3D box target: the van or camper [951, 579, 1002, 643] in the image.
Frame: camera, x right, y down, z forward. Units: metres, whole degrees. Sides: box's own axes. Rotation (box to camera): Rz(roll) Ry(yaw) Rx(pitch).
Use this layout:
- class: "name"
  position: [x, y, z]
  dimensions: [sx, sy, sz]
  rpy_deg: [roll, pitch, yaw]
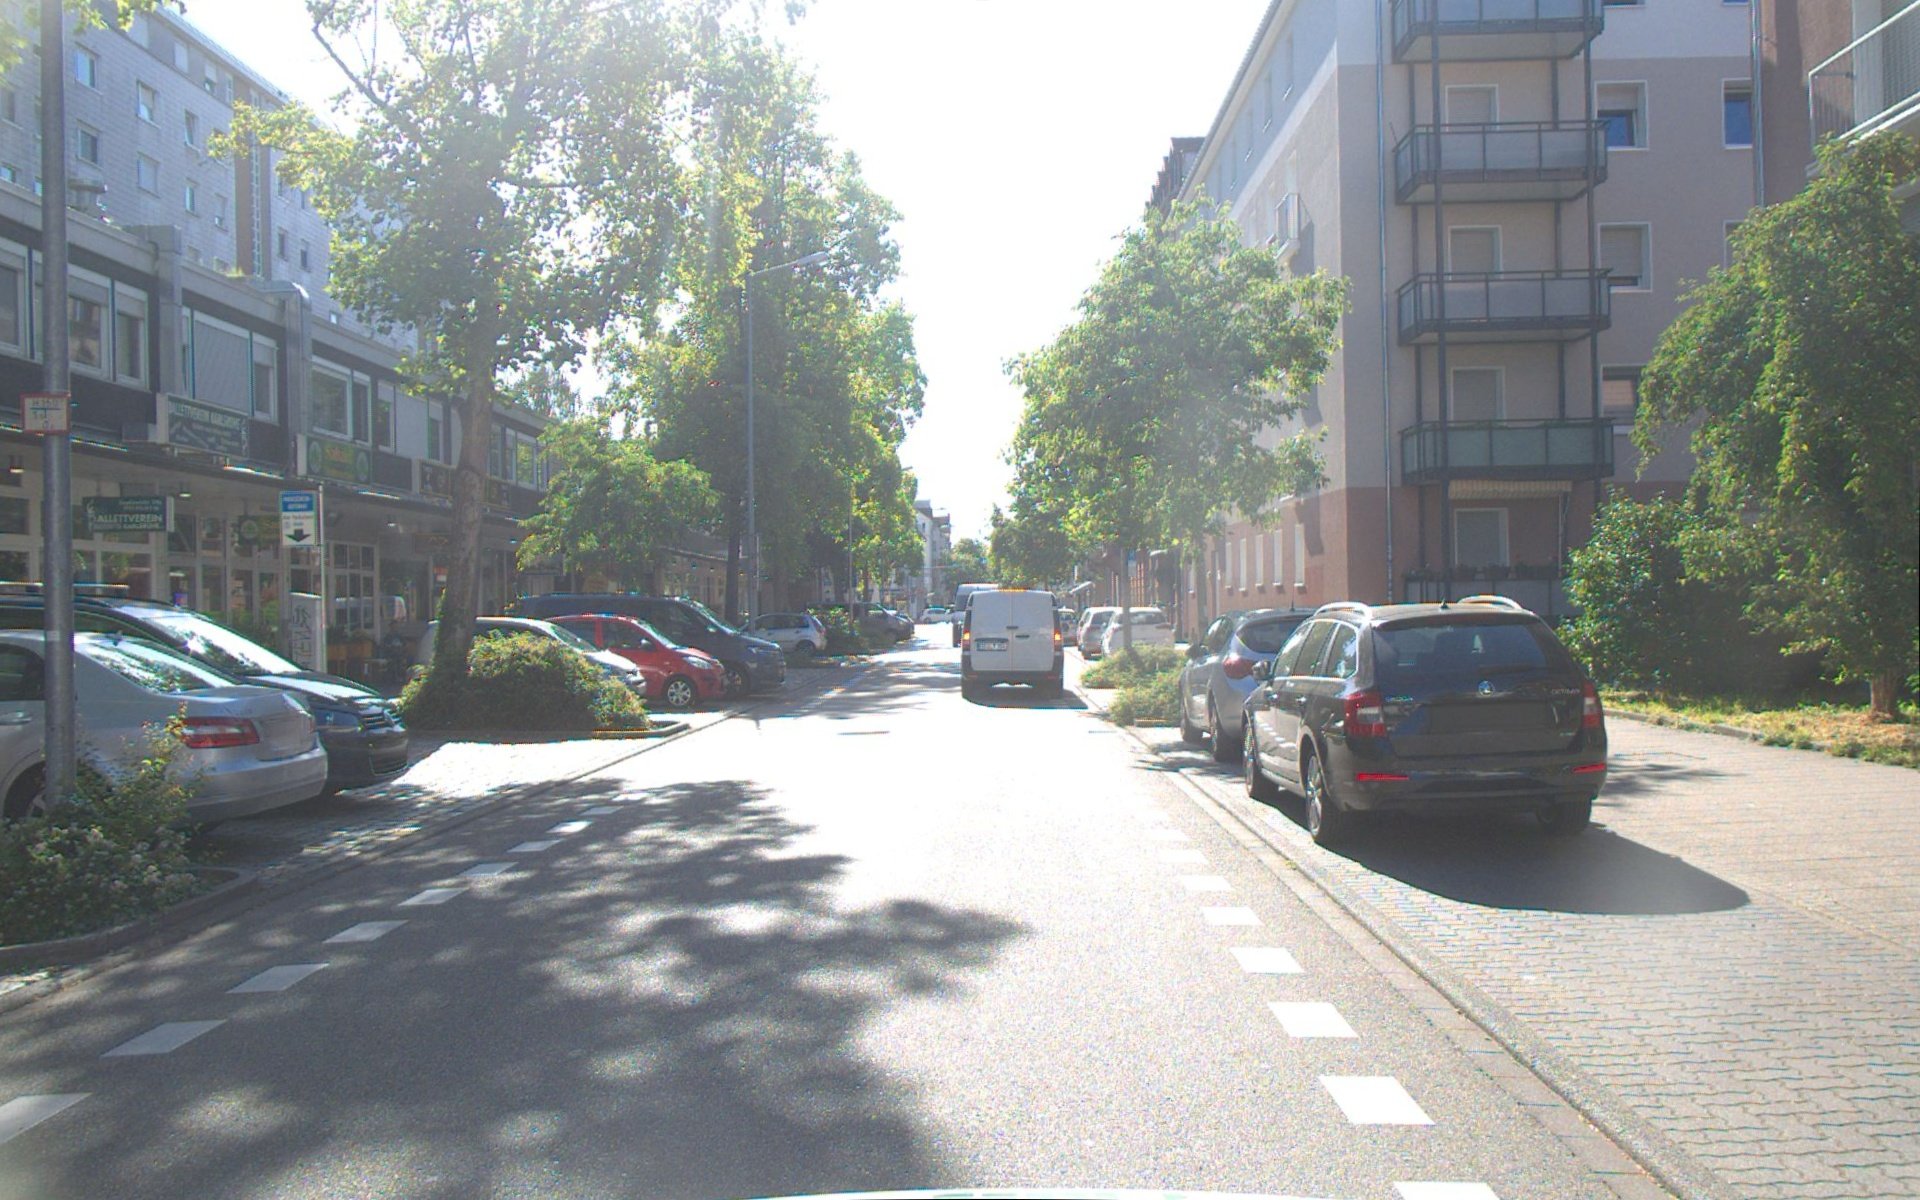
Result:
- class: "van or camper"
  position: [0.712, 0.429, 69.044]
  dimensions: [1.952, 2.518, 5.821]
  rpy_deg: [-2, 0, 1]

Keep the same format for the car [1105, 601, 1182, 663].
- class: "car"
  position: [4.879, 0.826, 44.398]
  dimensions: [1.704, 1.546, 3.859]
  rpy_deg: [-1, 0, 2]

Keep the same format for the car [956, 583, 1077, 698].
- class: "car"
  position: [1.011, 0.691, 31.459]
  dimensions: [2.058, 1.941, 5.425]
  rpy_deg: [-1, 0, 1]

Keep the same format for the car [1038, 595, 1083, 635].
- class: "car"
  position: [4.130, 0.596, 68.101]
  dimensions: [1.704, 1.546, 3.859]
  rpy_deg: [-1, 0, 2]

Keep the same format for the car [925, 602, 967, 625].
- class: "car"
  position: [-1.343, 1.260, 156.981]
  dimensions: [3.907, 2.049, 1.999]
  rpy_deg: [-1, 0, -3]

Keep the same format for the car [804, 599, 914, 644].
- class: "car"
  position: [-4.794, 1.009, 78.978]
  dimensions: [5.106, 2.016, 1.661]
  rpy_deg: [-1, 0, 0]

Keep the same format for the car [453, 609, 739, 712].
- class: "car"
  position: [-6.213, 1.018, 28.544]
  dimensions: [4.532, 1.638, 1.661]
  rpy_deg: [-1, 0, 0]

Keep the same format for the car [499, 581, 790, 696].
- class: "car"
  position: [-5.855, 0.701, 31.090]
  dimensions: [5.106, 2.016, 1.661]
  rpy_deg: [-1, 0, 0]

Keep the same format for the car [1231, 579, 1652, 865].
- class: "car"
  position: [3.094, 0.694, 11.578]
  dimensions: [1.746, 1.546, 4.309]
  rpy_deg: [-3, 0, 2]

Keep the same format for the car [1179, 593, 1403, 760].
- class: "car"
  position: [3.407, 0.727, 17.690]
  dimensions: [1.704, 1.546, 3.859]
  rpy_deg: [-1, 0, 2]

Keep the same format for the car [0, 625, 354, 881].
- class: "car"
  position: [-6.703, 0.982, 11.100]
  dimensions: [4.561, 1.520, 1.827]
  rpy_deg: [-1, 0, 0]

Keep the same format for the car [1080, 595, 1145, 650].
- class: "car"
  position: [4.579, 0.662, 50.026]
  dimensions: [1.704, 1.546, 3.859]
  rpy_deg: [-1, 0, 2]

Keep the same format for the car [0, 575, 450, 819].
- class: "car"
  position: [-6.806, 0.761, 13.723]
  dimensions: [4.532, 1.836, 1.837]
  rpy_deg: [-1, 0, 0]

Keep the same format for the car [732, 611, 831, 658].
- class: "car"
  position: [-5.822, 1.124, 54.115]
  dimensions: [3.035, 1.433, 1.661]
  rpy_deg: [-1, 0, 0]
